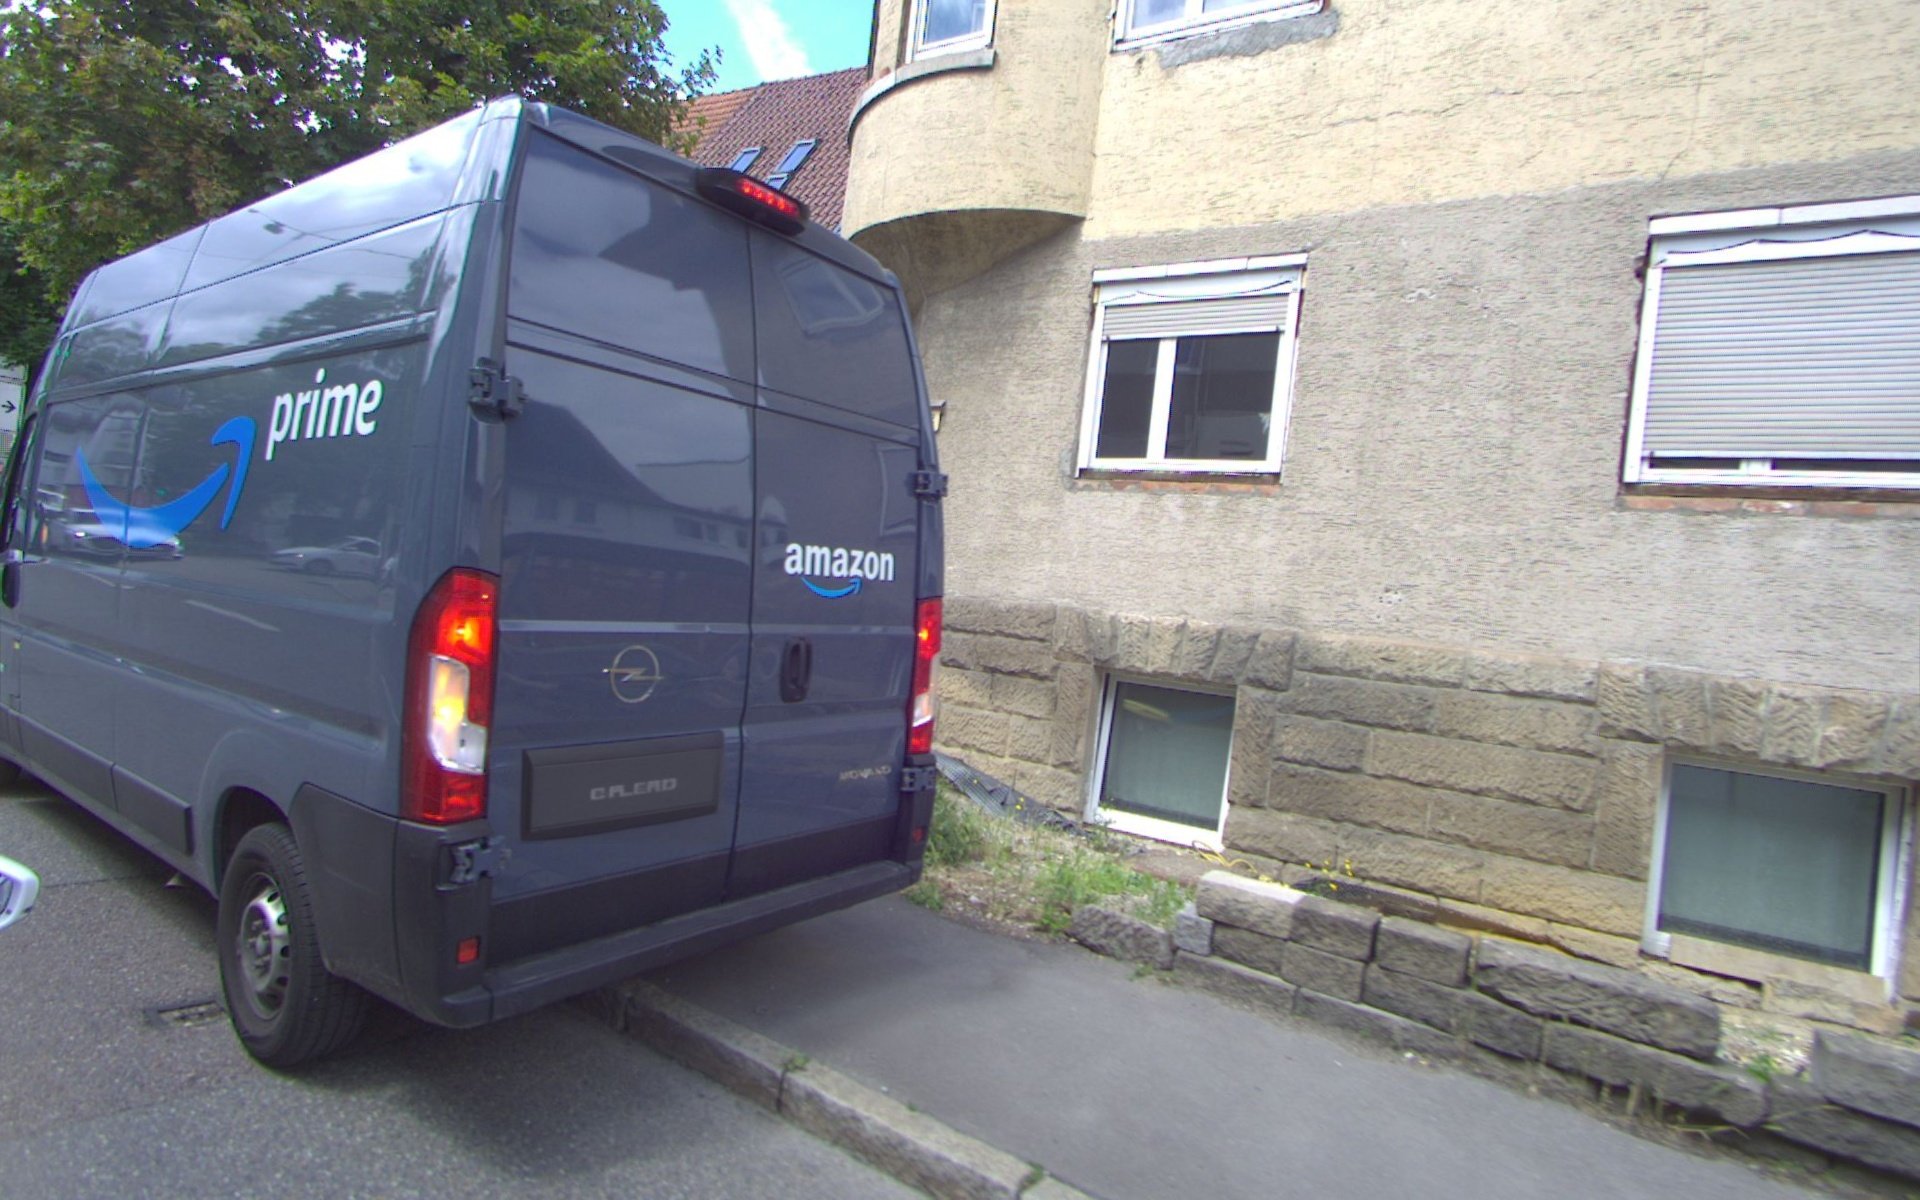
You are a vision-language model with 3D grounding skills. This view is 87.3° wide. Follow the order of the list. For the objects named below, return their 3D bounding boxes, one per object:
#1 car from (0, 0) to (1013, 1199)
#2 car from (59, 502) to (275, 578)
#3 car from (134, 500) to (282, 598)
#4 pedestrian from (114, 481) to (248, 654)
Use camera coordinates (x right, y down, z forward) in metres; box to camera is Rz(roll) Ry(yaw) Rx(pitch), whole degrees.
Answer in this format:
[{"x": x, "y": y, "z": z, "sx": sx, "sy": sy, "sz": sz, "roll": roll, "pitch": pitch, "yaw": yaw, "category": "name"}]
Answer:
[{"x": -3.028, "y": -0.180, "z": 4.886, "sx": 6.154, "sy": 2.804, "sz": 2.148, "roll": 7, "pitch": -1, "yaw": 37, "category": "car"}, {"x": -21.093, "y": -1.541, "z": 26.989, "sx": 1.746, "sy": 1.433, "sz": 4.185, "roll": 8, "pitch": 0, "yaw": 18, "category": "car"}, {"x": -13.984, "y": -1.006, "z": 18.923, "sx": 1.737, "sy": 1.538, "sz": 4.044, "roll": 4, "pitch": 3, "yaw": -31, "category": "car"}, {"x": -8.846, "y": -0.354, "z": 11.469, "sx": 0.731, "sy": 1.804, "sz": 0.897, "roll": 7, "pitch": 0, "yaw": -13, "category": "pedestrian"}]
